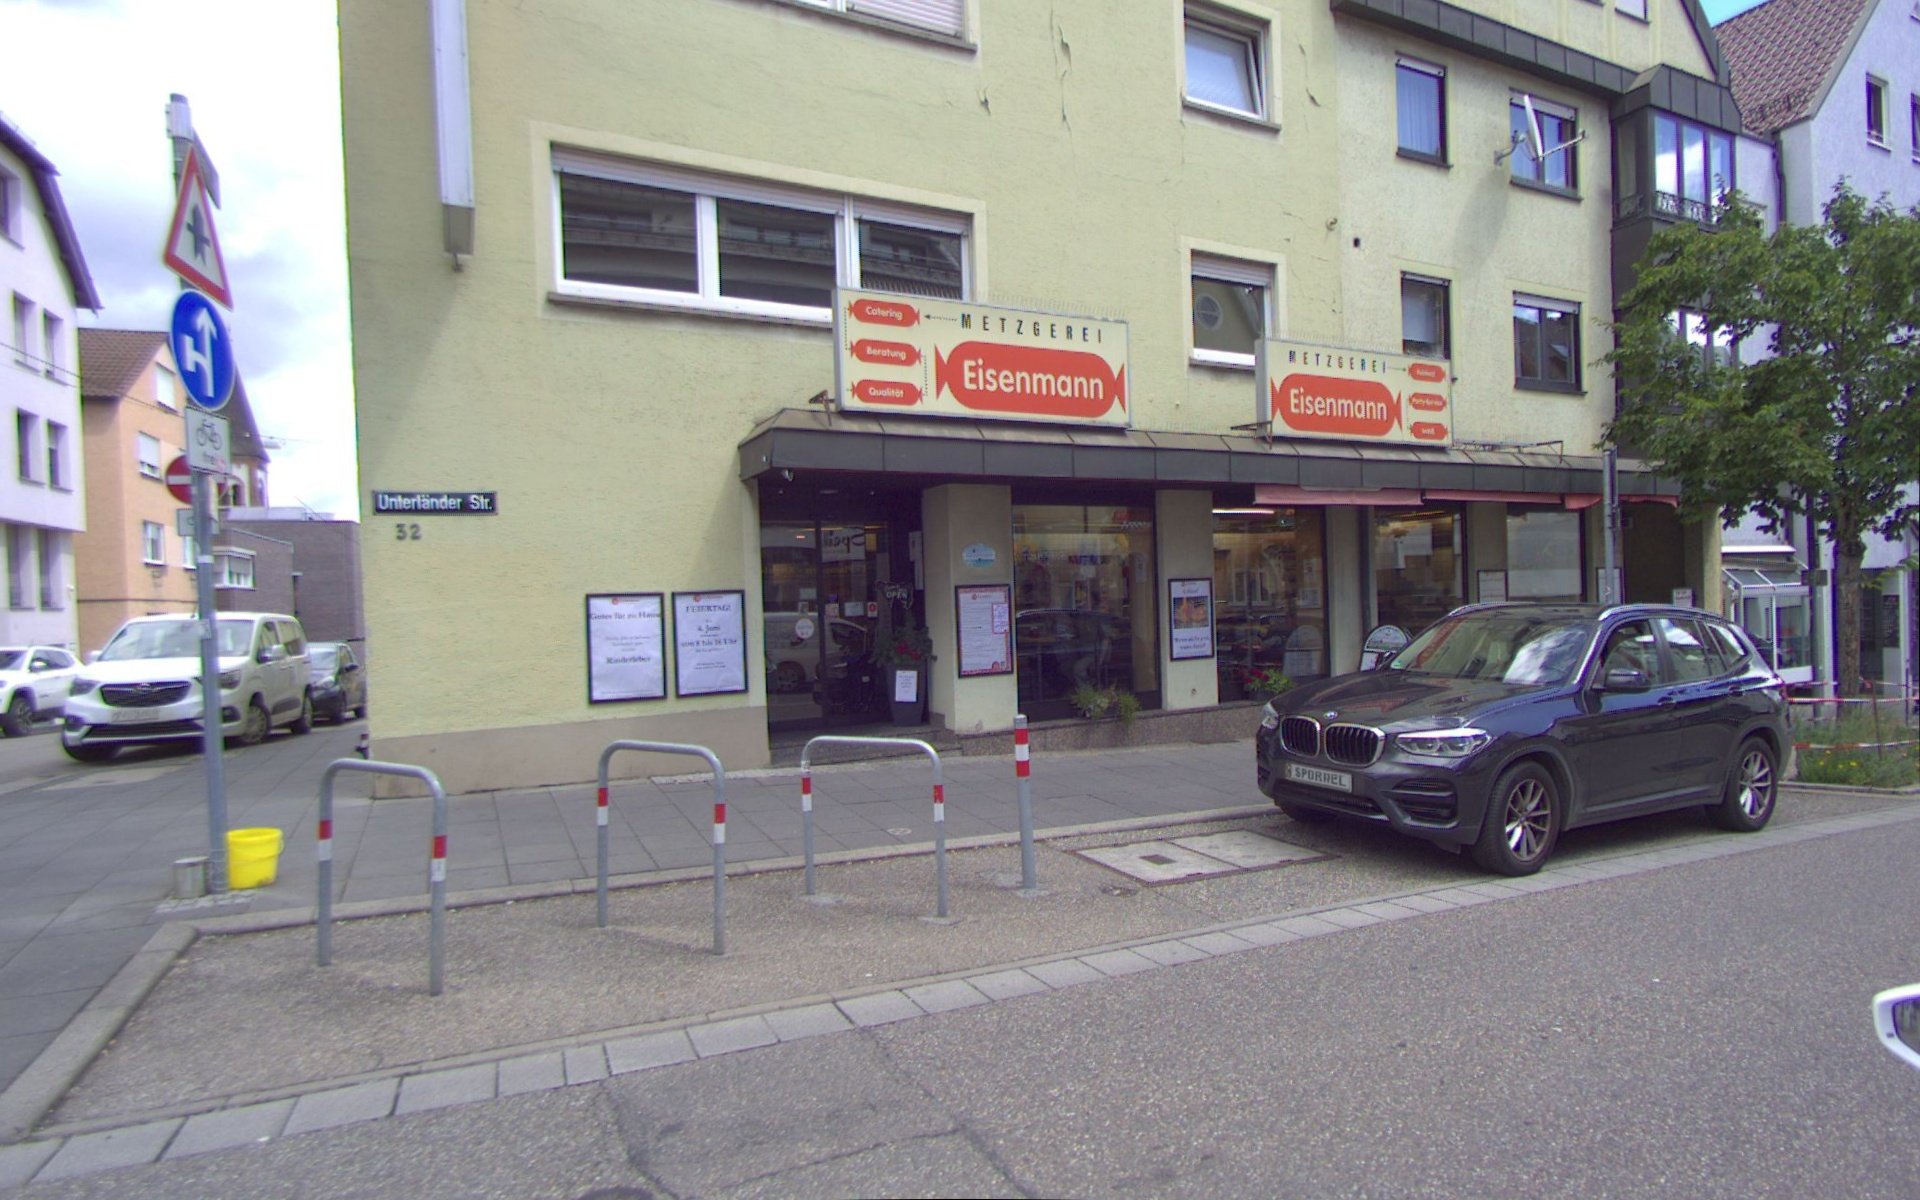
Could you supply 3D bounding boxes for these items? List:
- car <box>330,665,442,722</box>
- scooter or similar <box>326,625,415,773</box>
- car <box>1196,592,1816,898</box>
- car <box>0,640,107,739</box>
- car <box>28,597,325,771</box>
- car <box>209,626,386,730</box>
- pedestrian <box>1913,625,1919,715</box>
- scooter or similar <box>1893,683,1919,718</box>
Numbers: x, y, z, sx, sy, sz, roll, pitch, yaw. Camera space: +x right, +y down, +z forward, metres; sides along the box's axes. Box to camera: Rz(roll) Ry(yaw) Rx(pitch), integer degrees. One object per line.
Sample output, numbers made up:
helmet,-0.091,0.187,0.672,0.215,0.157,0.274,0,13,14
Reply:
car,-18.139,2.915,31.981,1.827,1.506,4.344,1,-1,-12
scooter or similar,-5.796,0.927,9.933,0.582,1.298,1.586,-3,0,-27
car,4.215,0.830,7.643,4.550,1.716,1.998,0,1,-29
car,-17.549,1.620,18.149,1.970,1.641,4.076,-1,-3,-21
car,-10.037,1.041,13.312,1.971,1.829,4.331,-2,-3,-23
car,-11.866,1.387,18.320,1.712,1.650,4.334,1,-4,-20
pedestrian,16.490,1.184,16.604,0.800,1.483,0.822,2,1,-28
scooter or similar,15.760,1.647,16.463,0.566,0.526,0.522,2,1,-28
